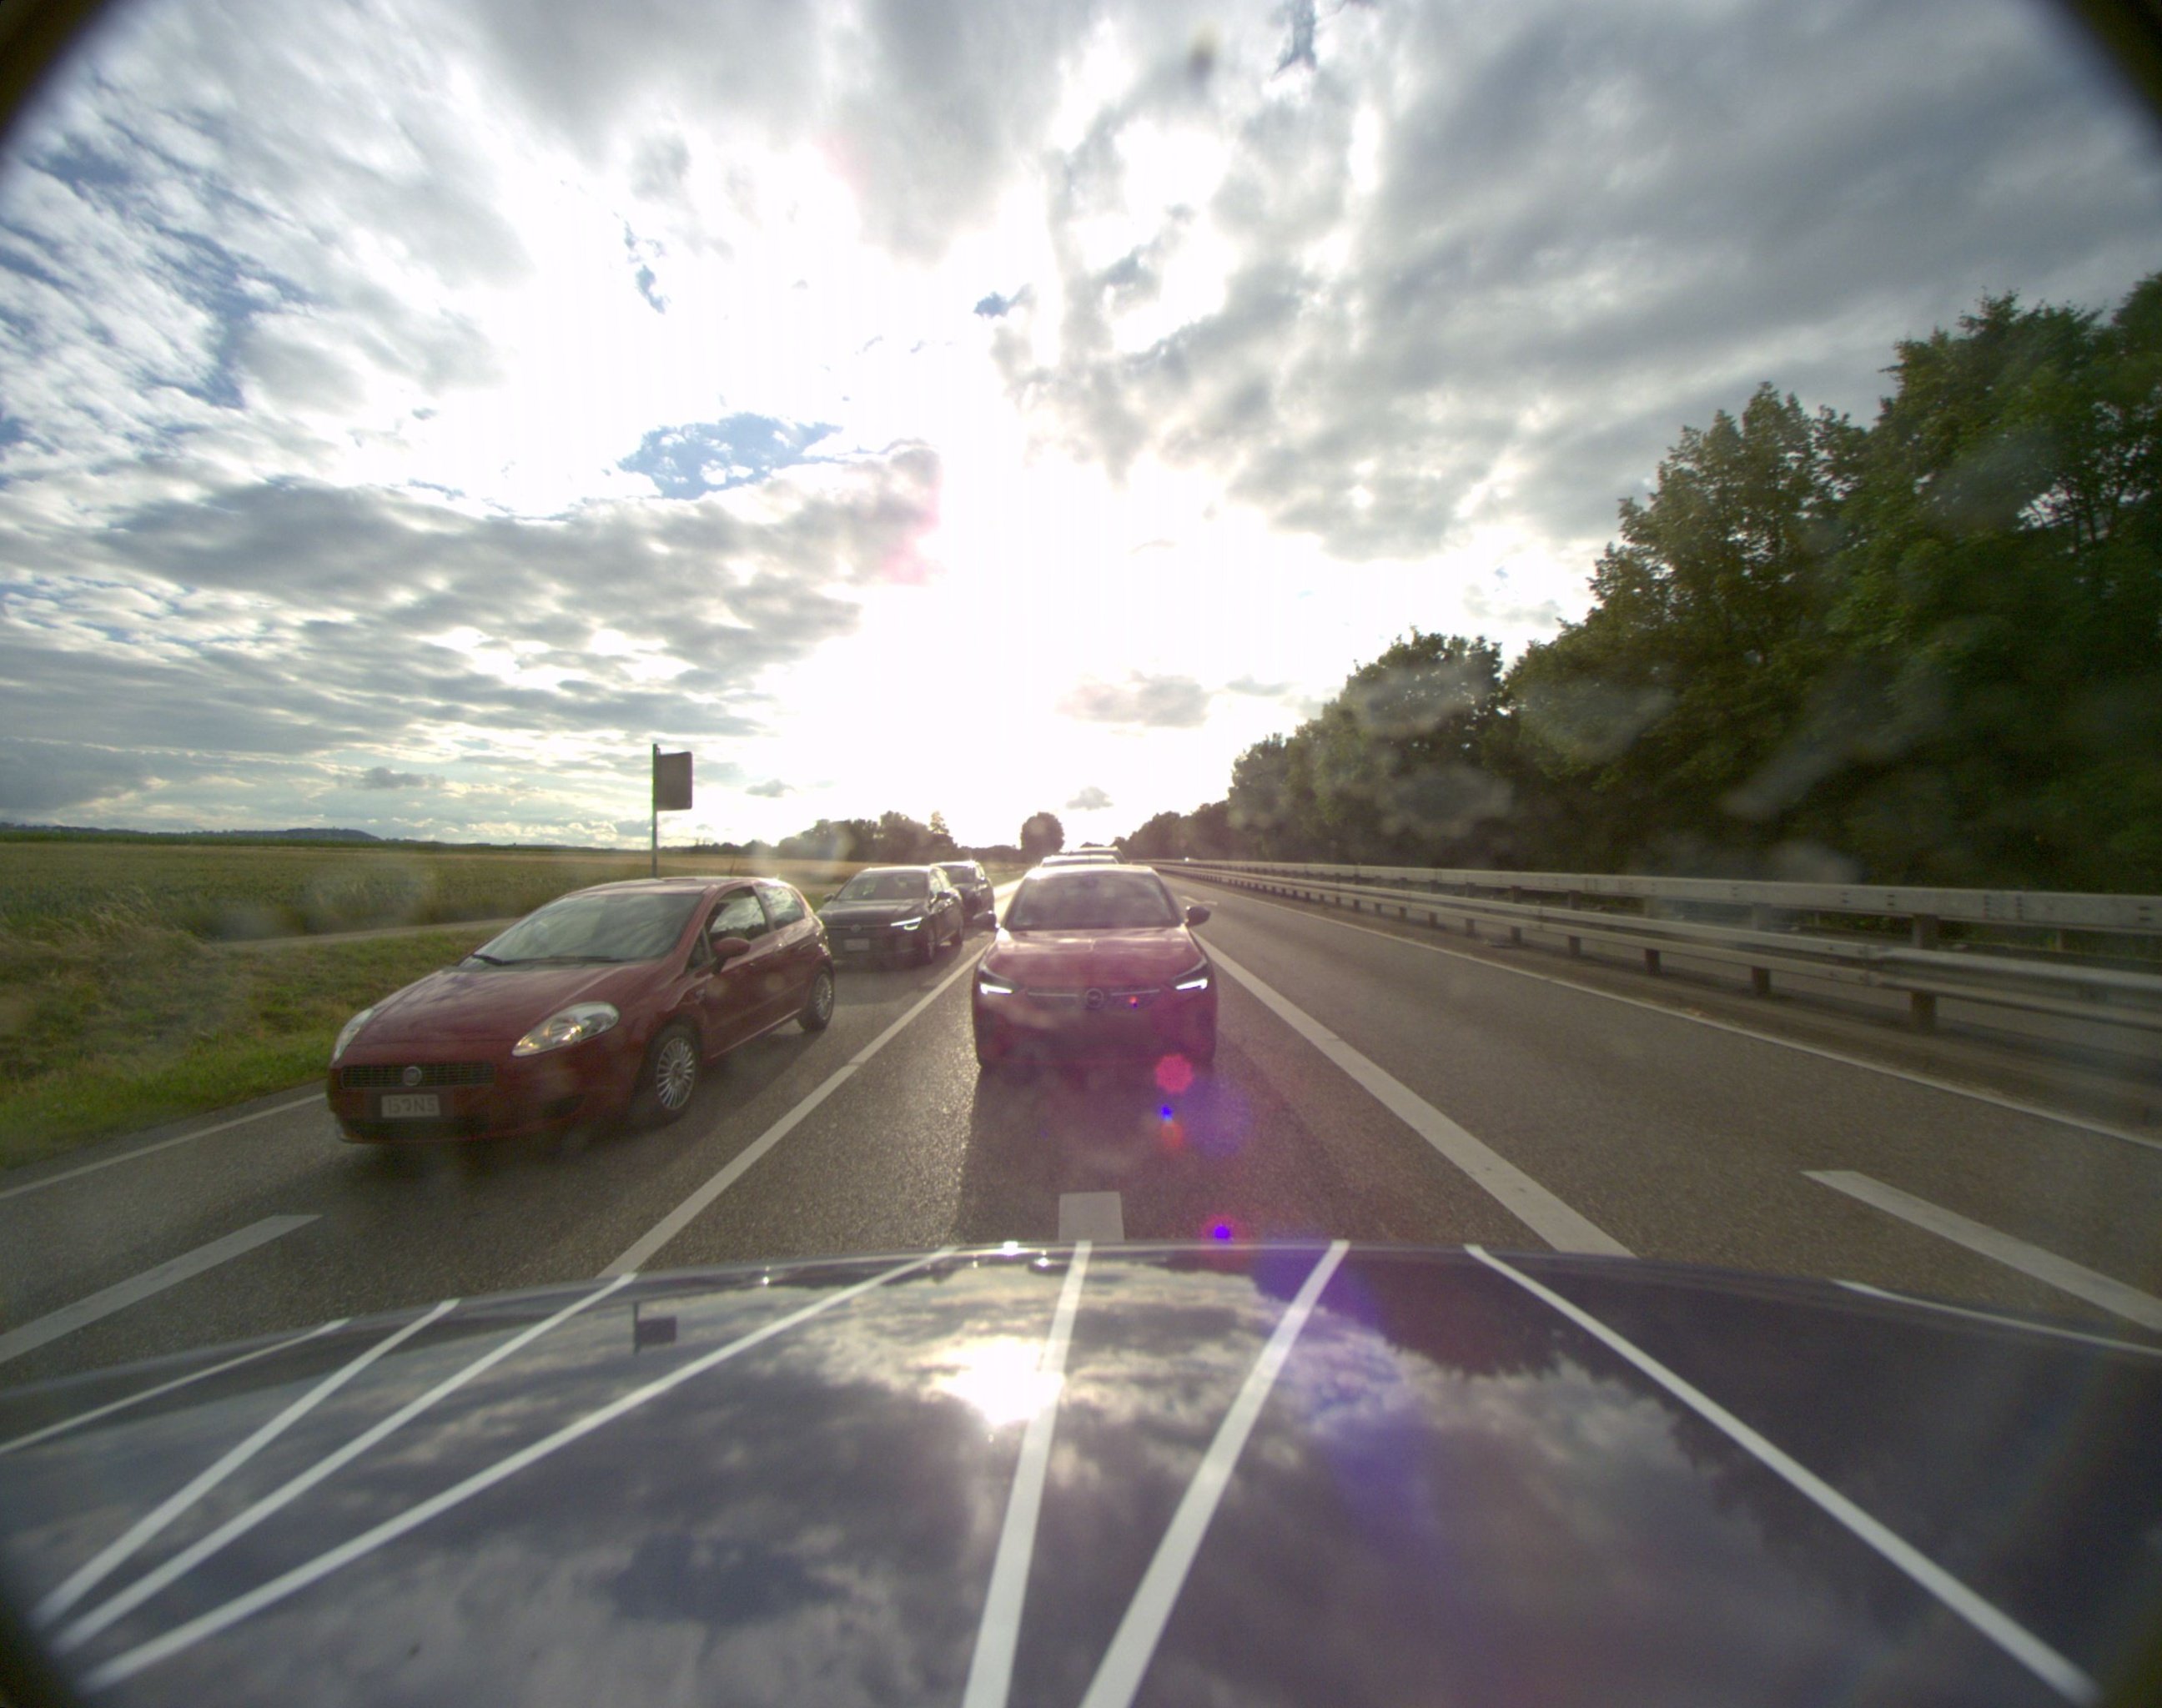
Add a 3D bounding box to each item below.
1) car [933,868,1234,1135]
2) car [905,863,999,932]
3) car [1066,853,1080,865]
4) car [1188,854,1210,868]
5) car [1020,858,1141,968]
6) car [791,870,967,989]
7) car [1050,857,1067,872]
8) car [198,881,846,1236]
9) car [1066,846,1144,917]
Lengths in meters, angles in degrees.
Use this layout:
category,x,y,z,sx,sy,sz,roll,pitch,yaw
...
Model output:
category,x,y,z,sx,sy,sz,roll,pitch,yaw
car,0.071,0.909,6.348,1.723,1.467,3.728,-2,0,2
car,-3.078,0.989,18.707,1.631,1.467,3.474,-2,0,1
car,-1.265,0.745,121.030,1.998,1.740,3.999,0,1,1
car,14.291,0.824,92.281,1.949,1.652,3.999,-1,0,0
car,-0.006,0.878,13.093,1.758,1.543,3.999,0,1,0
car,-3.027,1.068,12.233,1.723,1.467,3.865,-2,0,0
car,-2.673,1.255,92.754,1.949,1.652,3.999,-1,0,0
car,-3.202,1.028,5.463,1.669,1.467,3.866,-2,0,2
car,0.627,0.656,19.843,1.786,1.624,3.866,-2,0,2
